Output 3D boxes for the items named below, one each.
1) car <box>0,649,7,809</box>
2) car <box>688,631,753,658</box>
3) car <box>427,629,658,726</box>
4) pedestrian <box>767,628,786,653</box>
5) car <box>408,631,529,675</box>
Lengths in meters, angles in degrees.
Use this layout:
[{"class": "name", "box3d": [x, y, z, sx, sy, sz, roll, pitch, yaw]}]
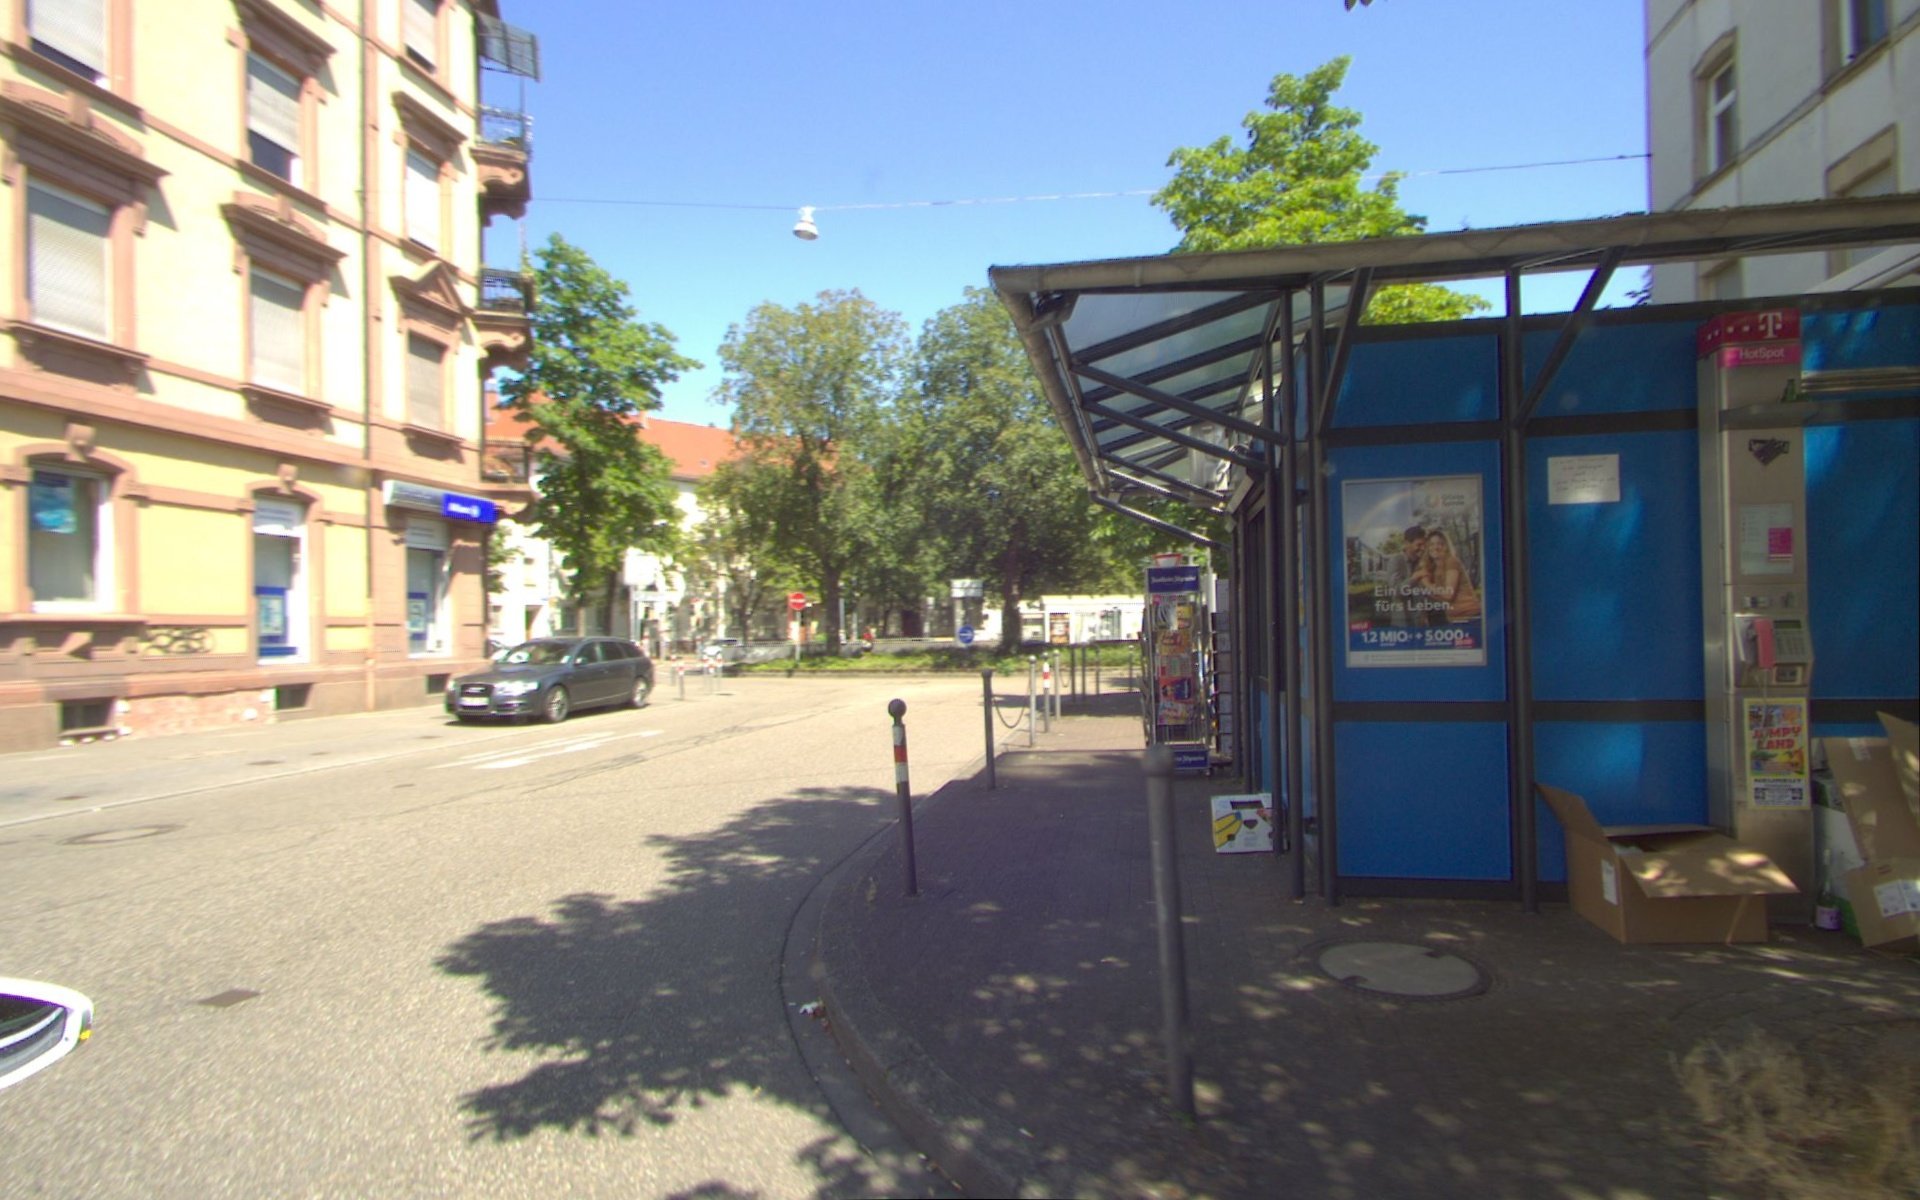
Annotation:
[{"class": "car", "box3d": [-9.607, 1.084, 6.810, 1.772, 1.388, 4.306, 1, 0, 11]}, {"class": "car", "box3d": [-15.692, 2.887, 65.785, 1.956, 1.643, 3.979, -1, -1, 32]}, {"class": "car", "box3d": [-7.444, 1.316, 18.409, 1.773, 1.474, 4.434, 0, 0, 11]}, {"class": "pedestrian", "box3d": [-12.970, 2.842, 70.659, 0.897, 1.750, 0.970, -1, 0, 34]}, {"class": "car", "box3d": [-19.878, 2.121, 40.703, 1.858, 1.572, 4.296, -1, -1, 21]}]
